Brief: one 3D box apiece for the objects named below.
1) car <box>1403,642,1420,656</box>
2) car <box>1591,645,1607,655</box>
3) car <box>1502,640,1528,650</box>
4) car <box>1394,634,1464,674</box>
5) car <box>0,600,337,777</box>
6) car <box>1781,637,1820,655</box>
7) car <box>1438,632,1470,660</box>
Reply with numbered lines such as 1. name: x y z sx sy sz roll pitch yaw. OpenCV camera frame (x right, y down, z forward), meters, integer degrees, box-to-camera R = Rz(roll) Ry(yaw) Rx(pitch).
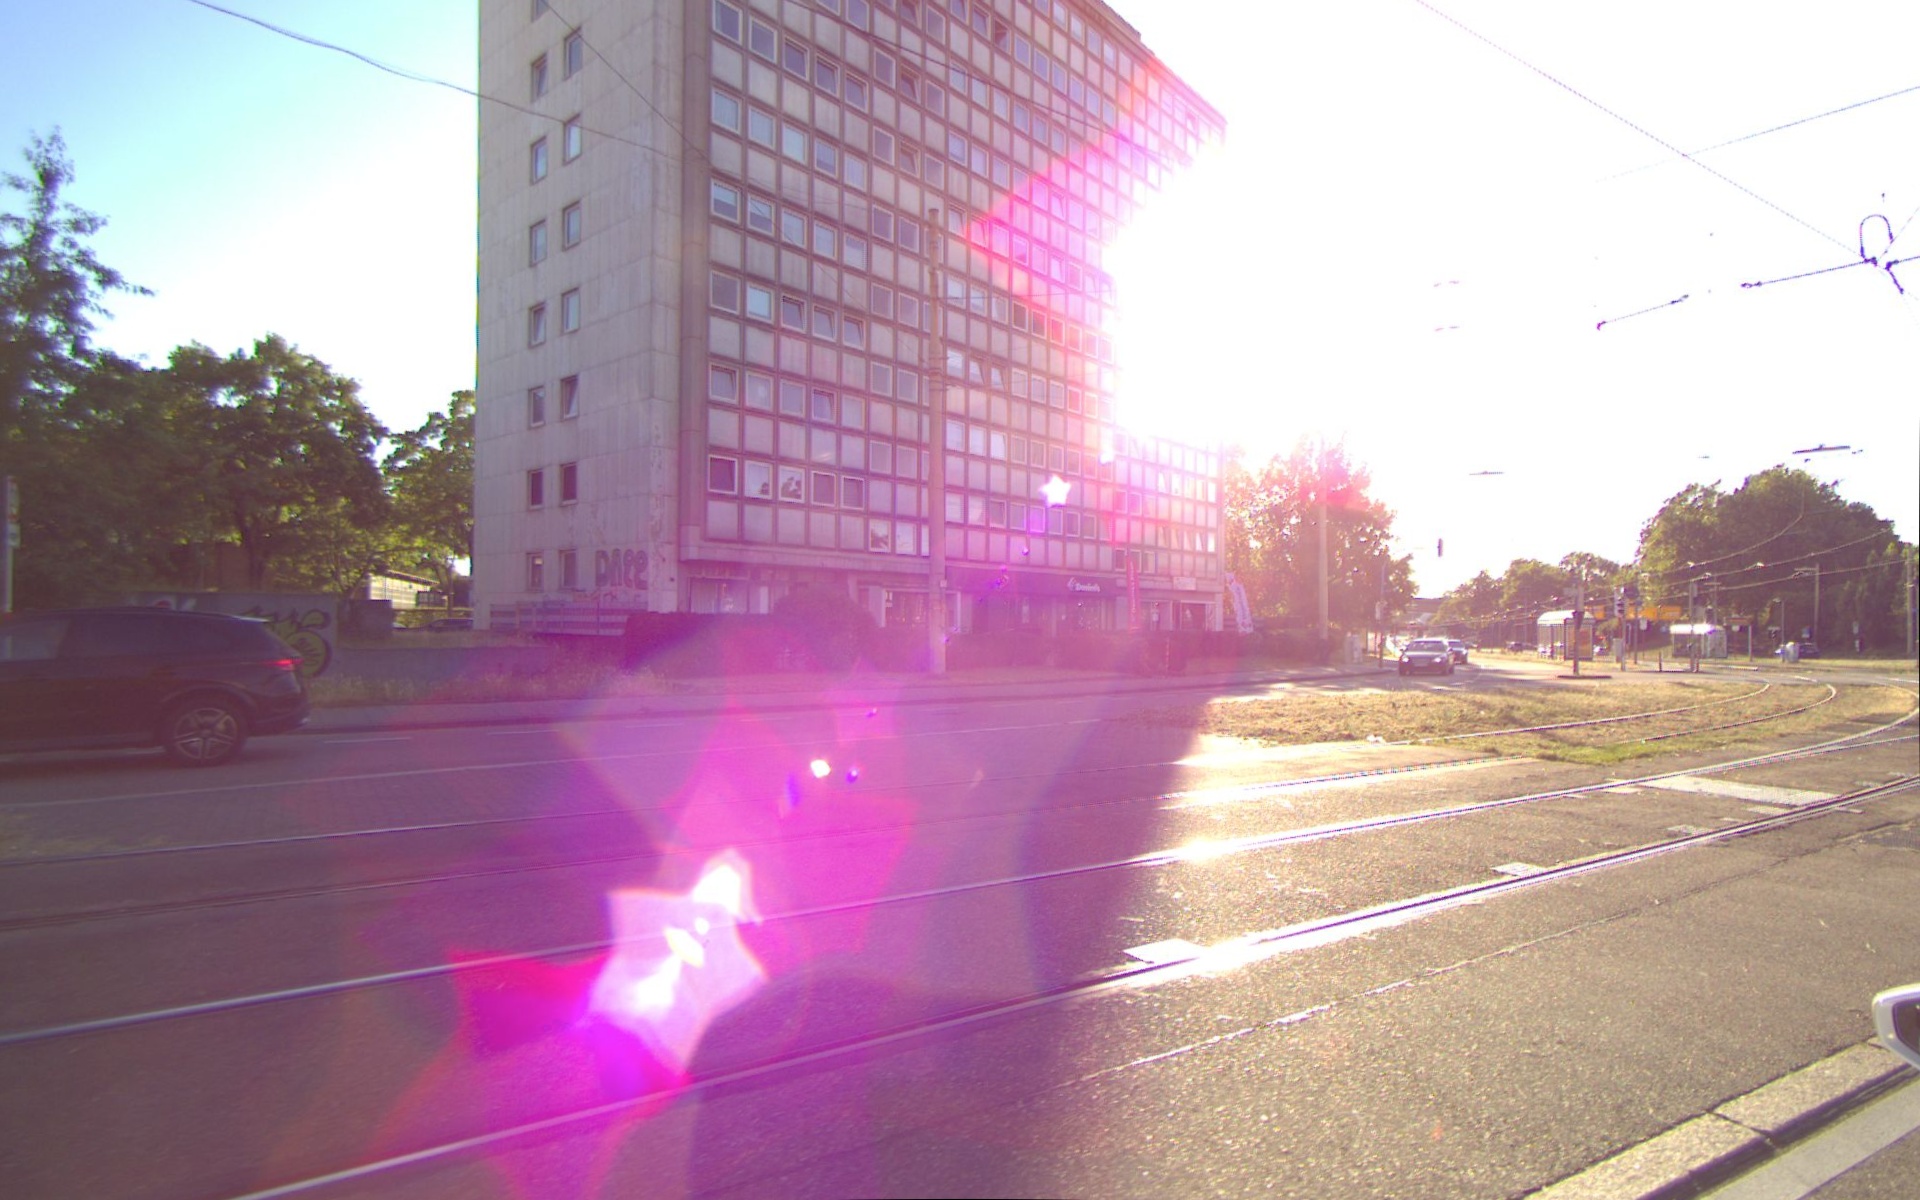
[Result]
1. car: 52.314 5.618 116.447 1.663 1.550 3.699 0 -2 23
2. car: 98.244 7.734 154.497 1.490 1.406 3.362 0 -1 22
3. car: 125.485 10.129 227.178 4.789 2.040 1.991 0 -1 40
4. car: 19.232 2.195 41.093 1.754 1.501 4.384 -3 -4 36
5. car: -9.394 0.879 10.575 4.665 1.684 1.904 1 -2 -37
6. car: 71.230 3.894 85.181 1.745 1.441 3.851 -1 -2 27
7. car: 30.166 2.785 61.354 1.625 1.617 4.583 0 -2 25
